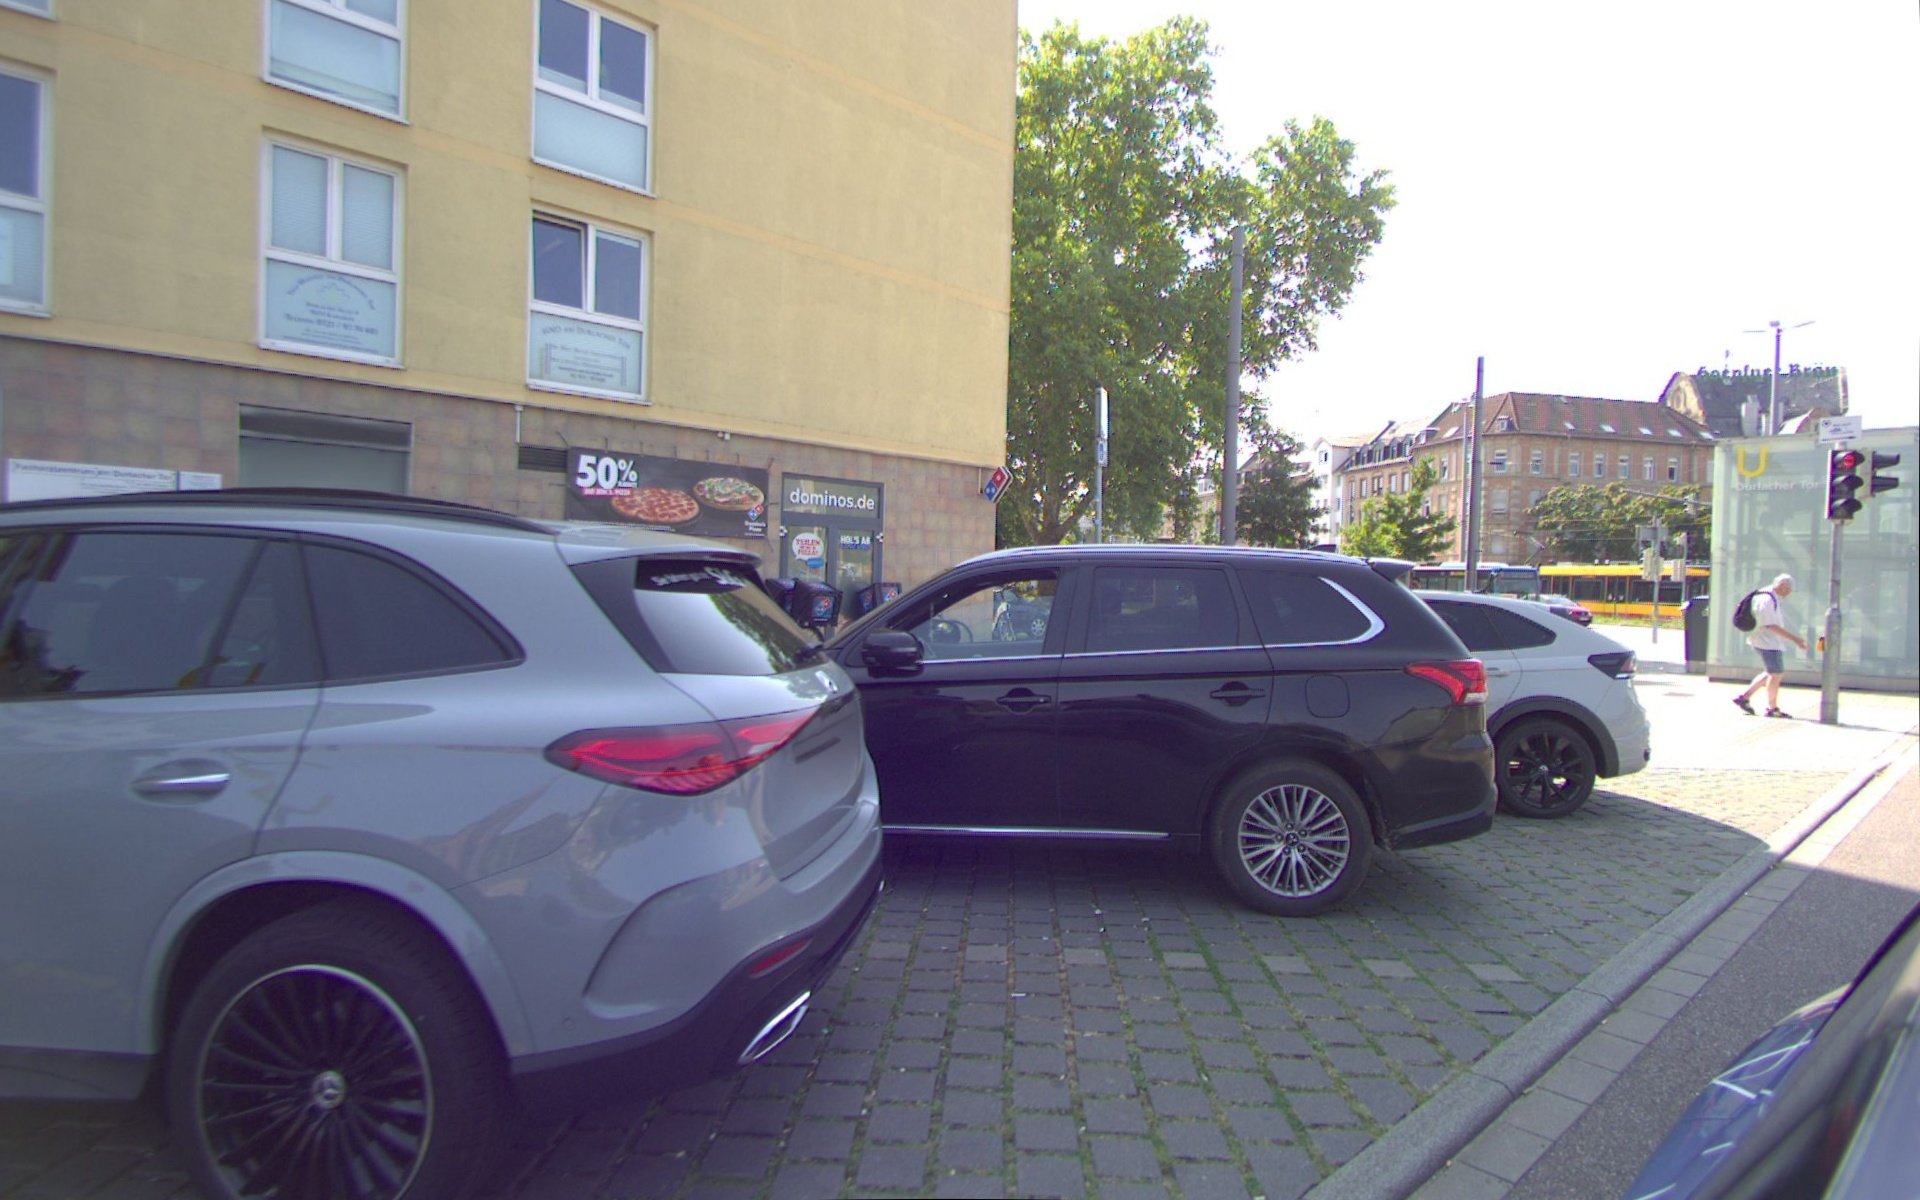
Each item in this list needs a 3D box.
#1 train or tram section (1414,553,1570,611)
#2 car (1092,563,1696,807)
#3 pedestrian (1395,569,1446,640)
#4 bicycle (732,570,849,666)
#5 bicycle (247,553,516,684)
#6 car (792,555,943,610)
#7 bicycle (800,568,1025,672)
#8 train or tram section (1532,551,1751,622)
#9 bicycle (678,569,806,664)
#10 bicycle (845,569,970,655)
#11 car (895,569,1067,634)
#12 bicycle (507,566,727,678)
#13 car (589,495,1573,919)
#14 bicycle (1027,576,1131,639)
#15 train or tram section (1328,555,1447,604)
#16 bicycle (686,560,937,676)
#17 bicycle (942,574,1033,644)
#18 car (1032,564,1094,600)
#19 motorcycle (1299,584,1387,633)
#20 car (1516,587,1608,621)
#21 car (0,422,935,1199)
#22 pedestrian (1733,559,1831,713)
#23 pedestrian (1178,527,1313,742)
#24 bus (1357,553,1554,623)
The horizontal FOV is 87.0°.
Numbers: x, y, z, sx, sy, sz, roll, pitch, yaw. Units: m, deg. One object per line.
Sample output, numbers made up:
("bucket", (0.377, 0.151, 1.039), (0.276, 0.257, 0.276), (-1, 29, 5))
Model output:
("train or tram section", (36.323, -1.318, 69.934), (2.542, 3.604, 12.241), (1, 2, -10))
("car", (2.861, 0.530, 7.482), (3.722, 1.519, 1.803), (0, -1, 8))
("pedestrian", (10.954, 0.095, 24.082), (0.934, 1.628, 0.791), (-1, 3, -45))
("bicycle", (-2.307, 0.234, 13.810), (1.513, 1.254, 0.593), (1, 1, -9))
("bicycle", (-6.148, 0.170, 10.842), (2.378, 1.254, 0.941), (1, 1, -39))
("car", (-2.682, -0.509, 29.988), (4.177, 1.488, 1.901), (0, 2, -45))
("bicycle", (-0.721, 0.270, 15.571), (3.313, 1.422, 0.901), (2, 1, 13))
("train or tram section", (38.345, -0.899, 57.881), (2.542, 3.604, 12.241), (1, 2, -10))
("bicycle", (-3.036, 0.215, 14.251), (1.797, 1.254, 0.409), (0, 1, -44))
("bicycle", (-0.808, 0.170, 15.988), (1.927, 1.262, 0.729), (0, 2, -43))
("car", (0.586, 0.048, 25.202), (4.175, 1.489, 1.902), (1, -1, -43))
("bicycle", (-4.191, 0.244, 12.481), (2.378, 1.254, 0.941), (1, 1, -39))
("car", (0.510, 0.398, 5.503), (4.318, 1.708, 1.983), (2, 1, 7))
("bicycle", (2.550, 0.134, 21.507), (2.393, 1.254, 0.793), (0, 2, -42))
("train or tram section", (34.296, -1.737, 81.993), (2.542, 3.604, 12.241), (1, 2, -10))
("bicycle", (-2.039, 0.212, 13.945), (3.313, 1.422, 0.901), (2, 1, 13))
("bicycle", (0.493, 0.147, 18.903), (1.721, 1.221, 0.580), (3, 2, 42))
("car", (8.206, -1.398, 80.189), (5.126, 2.617, 1.845), (3, 0, -42))
("motorcycle", (9.486, 0.201, 25.047), (2.070, 1.151, 0.914), (1, 2, -29))
("car", (30.157, 0.178, 50.834), (1.595, 1.490, 3.781), (1, 2, -20))
("car", (-2.503, 0.446, 3.247), (4.586, 1.735, 2.040), (2, 1, 7))
("pedestrian", (10.255, 0.420, 12.629), (0.800, 1.831, 0.820), (0, 0, -41))
("pedestrian", (2.481, 0.269, 8.739), (1.026, 1.725, 0.897), (1, 0, 22))
("bus", (24.940, -0.727, 52.067), (2.678, 3.102, 12.102), (2, 1, -8))
